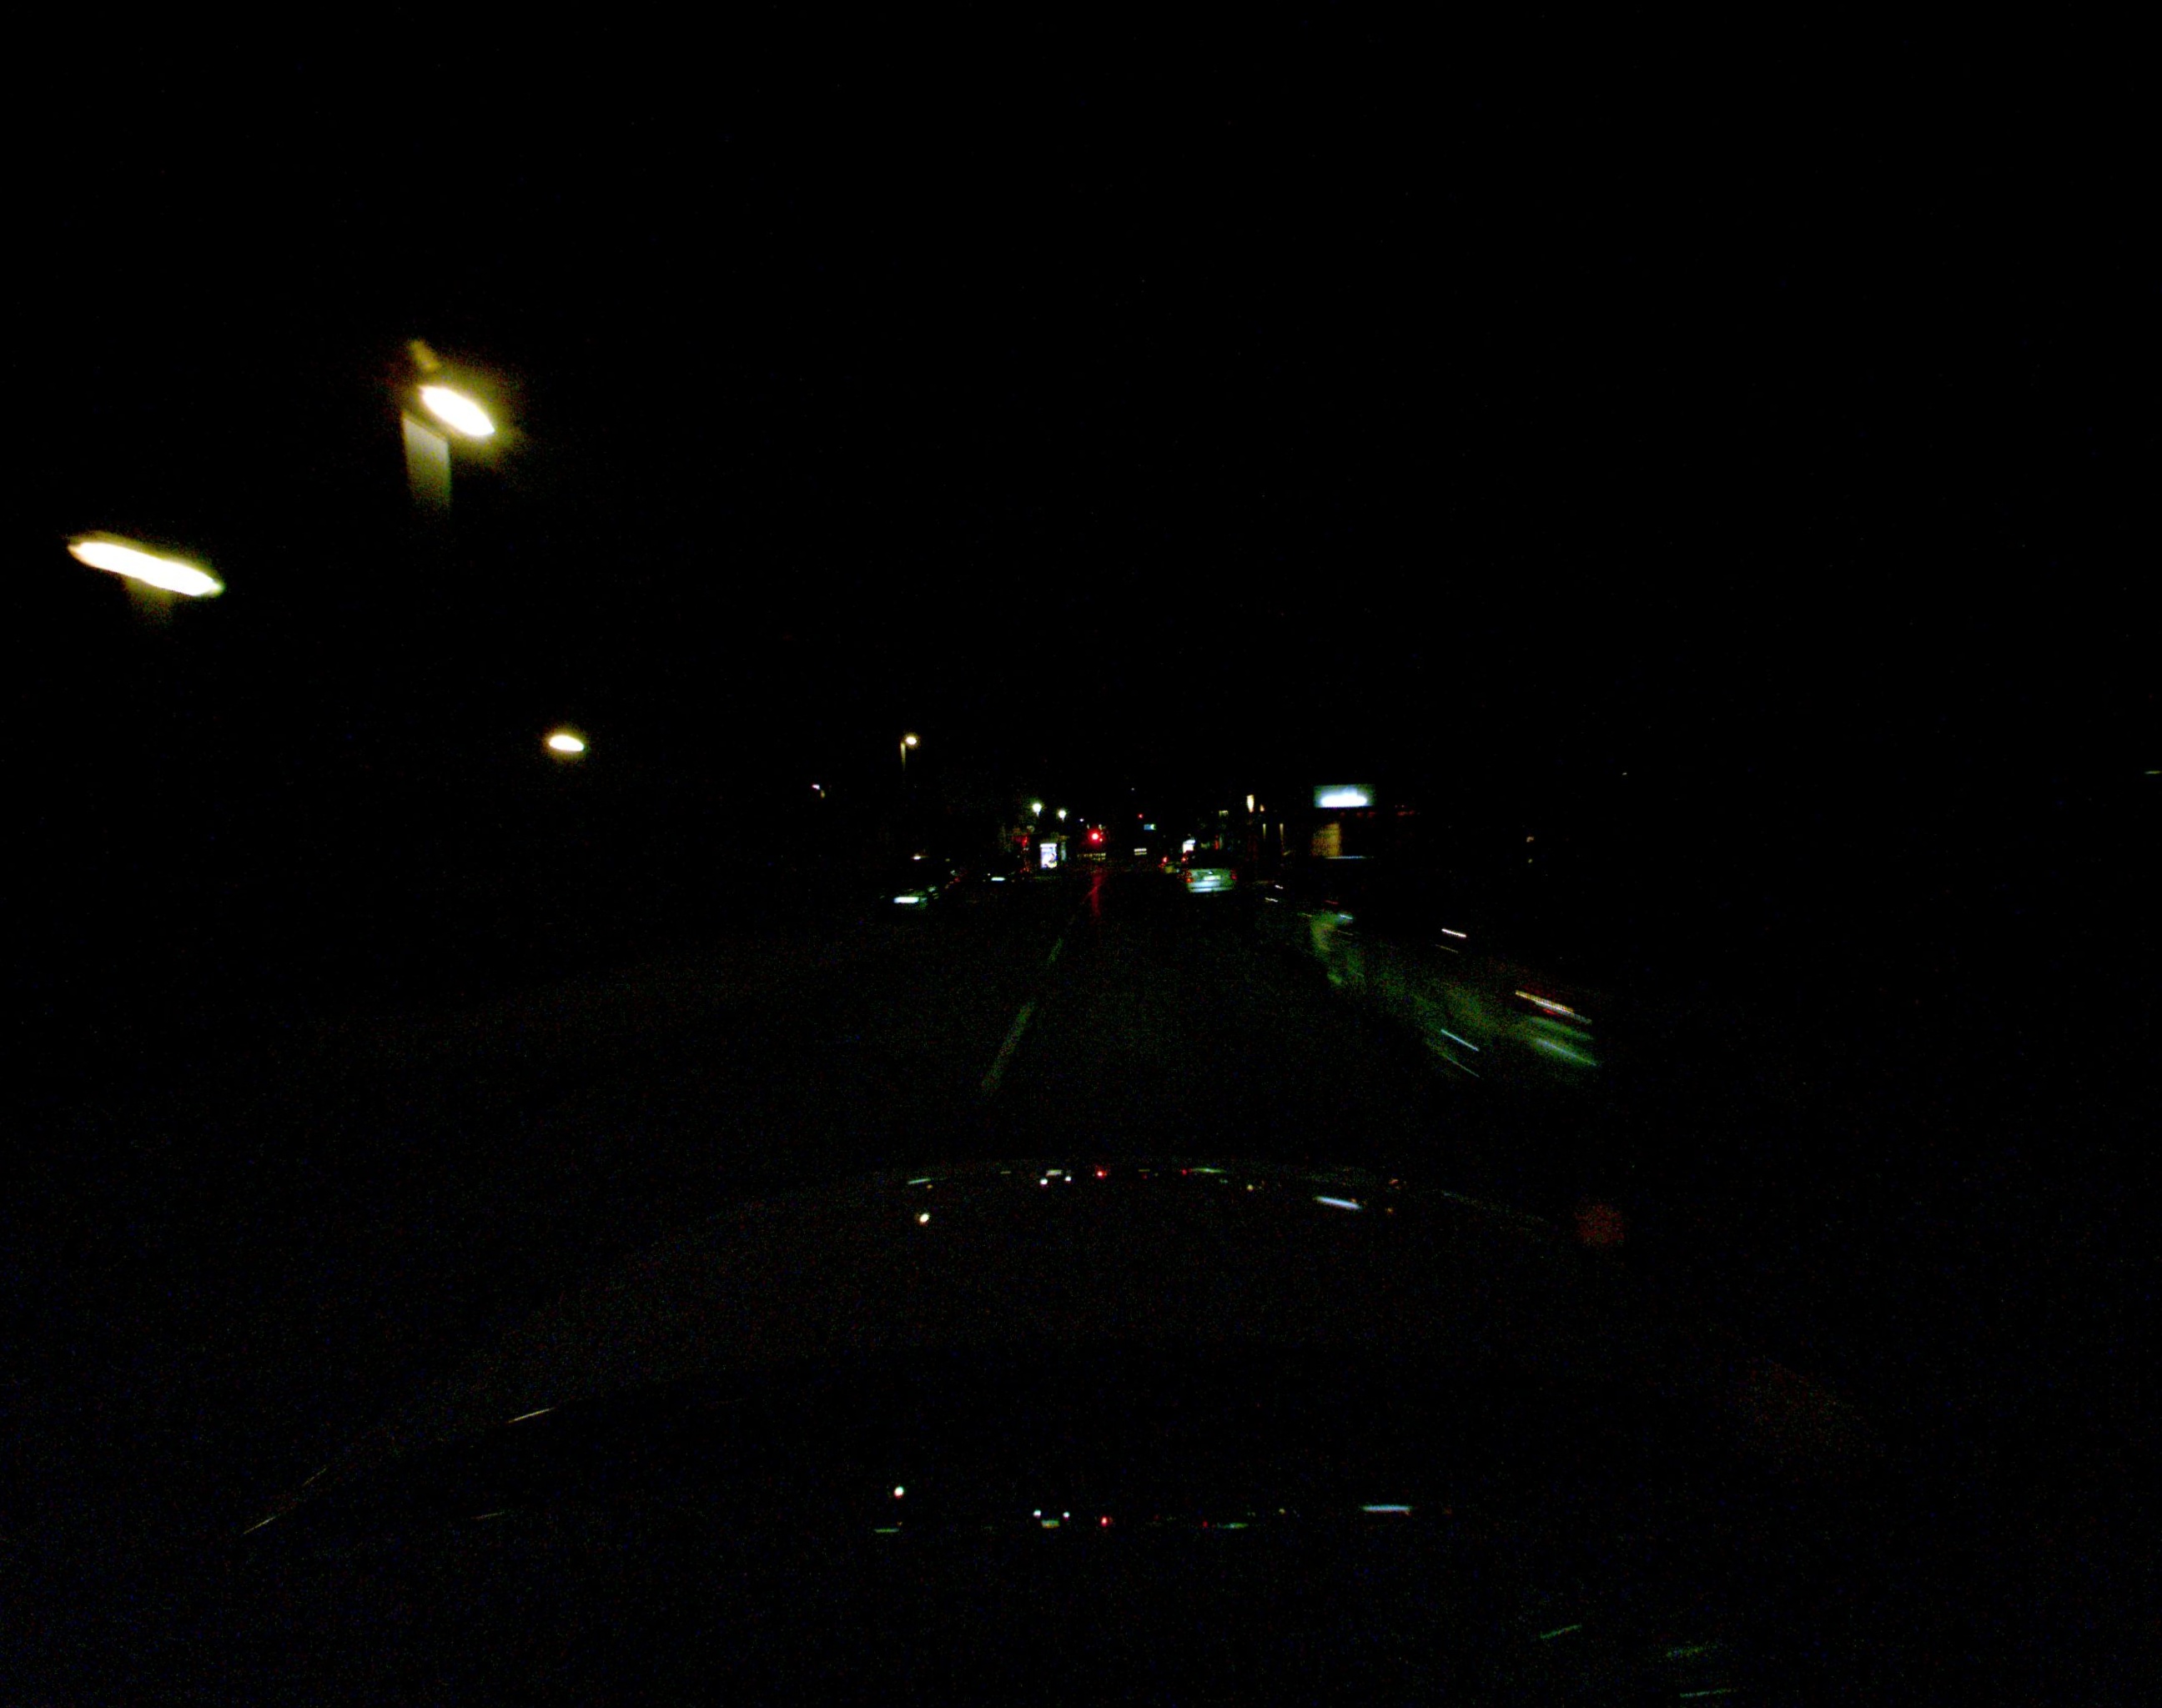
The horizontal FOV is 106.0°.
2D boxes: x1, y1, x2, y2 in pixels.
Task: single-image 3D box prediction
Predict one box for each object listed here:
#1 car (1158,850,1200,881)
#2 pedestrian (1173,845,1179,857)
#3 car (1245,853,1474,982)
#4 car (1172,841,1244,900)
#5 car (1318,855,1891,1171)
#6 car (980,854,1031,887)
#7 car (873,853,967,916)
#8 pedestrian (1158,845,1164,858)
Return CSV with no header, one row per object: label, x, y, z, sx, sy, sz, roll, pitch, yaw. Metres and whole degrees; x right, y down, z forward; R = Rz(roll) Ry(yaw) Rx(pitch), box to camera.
car,5.019,0.546,42.329,1.849,1.442,4.599,-3,0,4
pedestrian,13.933,-0.469,119.346,0.711,1.795,0.740,-1,-1,14
car,3.568,0.709,11.299,1.774,1.437,4.290,0,0,1
car,4.002,0.483,26.331,1.779,1.641,4.383,-3,0,3
car,3.128,0.746,6.153,1.669,1.447,4.617,0,0,4
car,-3.538,0.724,38.763,1.684,1.436,4.134,0,0,5
car,-4.162,0.765,21.576,1.686,1.524,3.691,0,-1,1
pedestrian,11.673,-0.334,118.837,0.711,1.795,0.571,-1,-1,14
